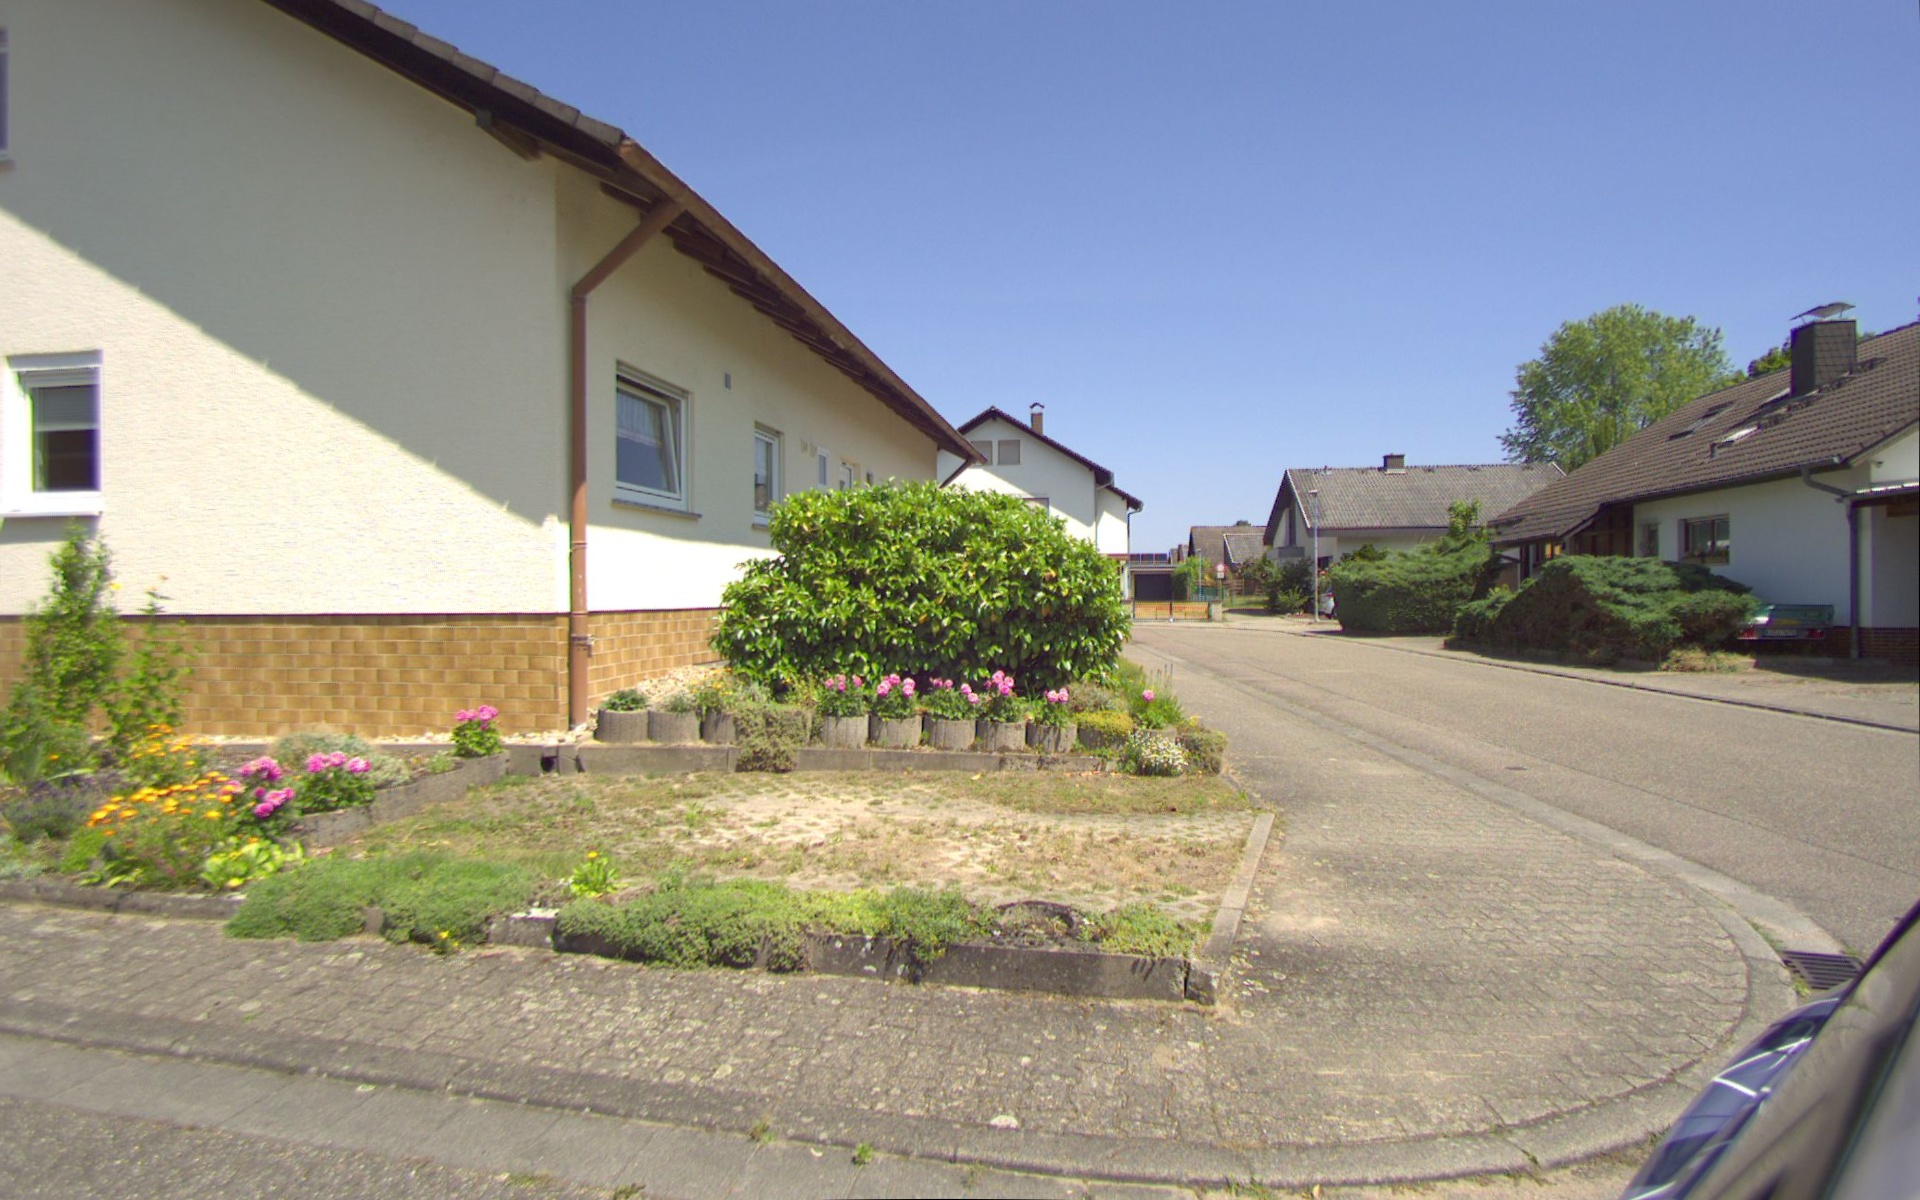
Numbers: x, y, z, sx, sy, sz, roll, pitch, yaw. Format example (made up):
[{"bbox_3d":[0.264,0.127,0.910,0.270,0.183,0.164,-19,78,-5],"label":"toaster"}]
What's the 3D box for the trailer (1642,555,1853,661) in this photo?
[{"bbox_3d":[14.079,0.107,18.326,1.566,1.693,3.288,-2,1,9],"label":"trailer"}]
